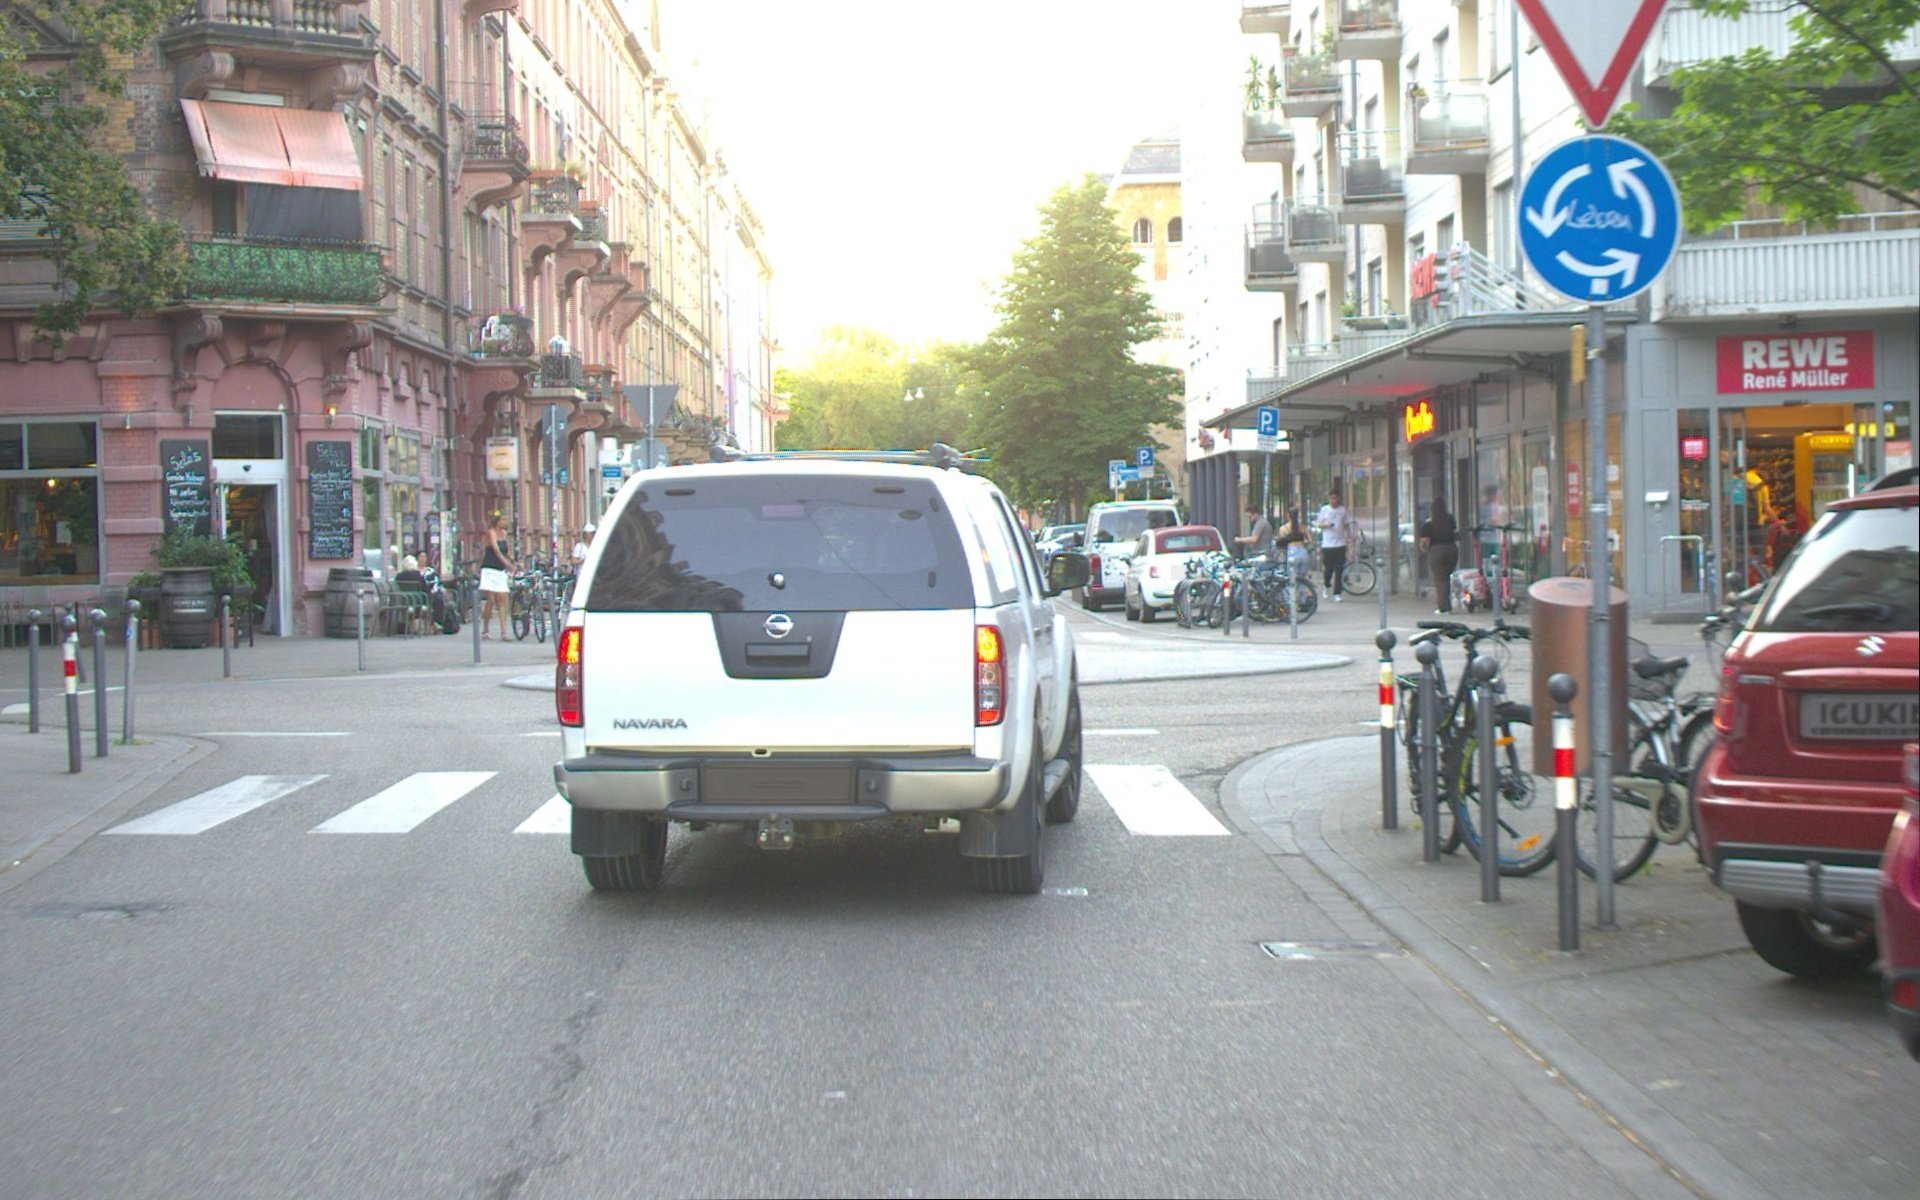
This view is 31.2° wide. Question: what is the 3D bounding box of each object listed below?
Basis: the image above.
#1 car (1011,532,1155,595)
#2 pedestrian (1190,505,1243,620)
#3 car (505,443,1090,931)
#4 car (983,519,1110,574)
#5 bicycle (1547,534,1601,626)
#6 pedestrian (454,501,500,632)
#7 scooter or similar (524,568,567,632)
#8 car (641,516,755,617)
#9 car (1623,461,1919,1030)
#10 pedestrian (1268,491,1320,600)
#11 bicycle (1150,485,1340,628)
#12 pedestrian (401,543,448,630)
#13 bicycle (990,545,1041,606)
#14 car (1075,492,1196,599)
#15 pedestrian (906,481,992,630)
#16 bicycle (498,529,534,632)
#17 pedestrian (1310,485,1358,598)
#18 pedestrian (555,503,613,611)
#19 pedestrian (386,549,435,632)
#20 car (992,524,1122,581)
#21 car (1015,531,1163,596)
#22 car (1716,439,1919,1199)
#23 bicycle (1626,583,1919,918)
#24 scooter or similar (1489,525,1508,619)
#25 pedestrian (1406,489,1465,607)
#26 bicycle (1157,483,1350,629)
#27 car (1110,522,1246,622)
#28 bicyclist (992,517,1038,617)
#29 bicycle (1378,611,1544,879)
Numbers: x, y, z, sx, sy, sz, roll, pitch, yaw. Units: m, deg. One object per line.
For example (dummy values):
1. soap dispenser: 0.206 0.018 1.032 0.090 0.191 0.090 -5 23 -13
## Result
1. car: 3.492 -1.040 97.980 3.986 1.744 1.841 0 0 -1
2. pedestrian: 3.748 -0.547 50.281 0.720 1.657 0.702 0 0 0
3. car: -0.515 0.226 15.253 1.938 1.804 5.001 0 2 5
4. car: 2.780 -1.718 110.778 3.986 1.744 1.841 0 0 -1
5. bicycle: 7.545 -0.249 42.284 0.289 1.109 0.966 0 0 -13
6. pedestrian: -6.833 -0.471 48.599 0.503 1.834 0.573 0 0 -23
7. scooter or similar: -6.154 -0.004 51.066 0.233 0.926 1.266 0 1 -26
8. car: -4.677 -0.601 61.880 1.834 1.744 4.000 0 1 -1
9. car: 4.286 0.318 11.271 4.036 1.622 1.693 -4 3 -32
10. pedestrian: 5.143 -0.833 52.972 0.720 1.657 0.702 0 0 0
11. bicycle: 4.053 -0.623 48.963 2.647 2.007 0.638 0 0 1
12. pedestrian: -7.935 -0.197 50.941 0.648 1.281 0.540 0 0 -4
13. bicycle: 1.092 -0.482 67.386 0.838 1.167 1.935 0 1 6
14. car: 3.254 -1.008 64.401 1.942 1.927 4.000 0 1 -1
15. pedestrian: -0.143 -0.567 43.913 0.903 1.878 0.616 0 0 -31
16. bicycle: -6.299 -0.281 48.791 0.424 1.437 1.905 0 1 -5
17. pedestrian: 6.387 -0.996 58.706 0.720 1.900 0.702 0 0 0
18. pedestrian: -5.693 -0.654 52.087 0.797 1.615 0.944 0 0 -3
19. pedestrian: -7.951 -0.137 49.755 0.648 1.187 0.540 0 0 -4
20. car: 3.033 -1.471 107.817 3.986 1.744 1.841 0 0 -1
21. car: 3.576 -1.017 95.743 3.986 1.744 1.841 0 0 -1
22. car: 3.910 0.369 7.933 4.212 1.682 1.933 -5 3 -38
23. bicycle: 3.272 0.532 12.716 1.547 1.157 0.365 -2 1 -15
24. scooter or similar: 7.272 -0.381 46.428 0.219 1.233 0.966 0 2 7
25. pedestrian: 6.700 -0.732 48.479 0.720 1.657 0.702 0 0 1
26. bicycle: 4.102 -0.614 48.148 2.647 2.007 0.638 0 0 1
27. car: 3.486 -0.460 55.627 1.834 1.536 4.000 0 1 -1
28. bicyclist: 1.082 -0.648 67.466 0.838 1.937 0.784 0 0 6
29. bicycle: 2.117 0.588 14.659 0.364 1.060 1.552 0 1 -4
